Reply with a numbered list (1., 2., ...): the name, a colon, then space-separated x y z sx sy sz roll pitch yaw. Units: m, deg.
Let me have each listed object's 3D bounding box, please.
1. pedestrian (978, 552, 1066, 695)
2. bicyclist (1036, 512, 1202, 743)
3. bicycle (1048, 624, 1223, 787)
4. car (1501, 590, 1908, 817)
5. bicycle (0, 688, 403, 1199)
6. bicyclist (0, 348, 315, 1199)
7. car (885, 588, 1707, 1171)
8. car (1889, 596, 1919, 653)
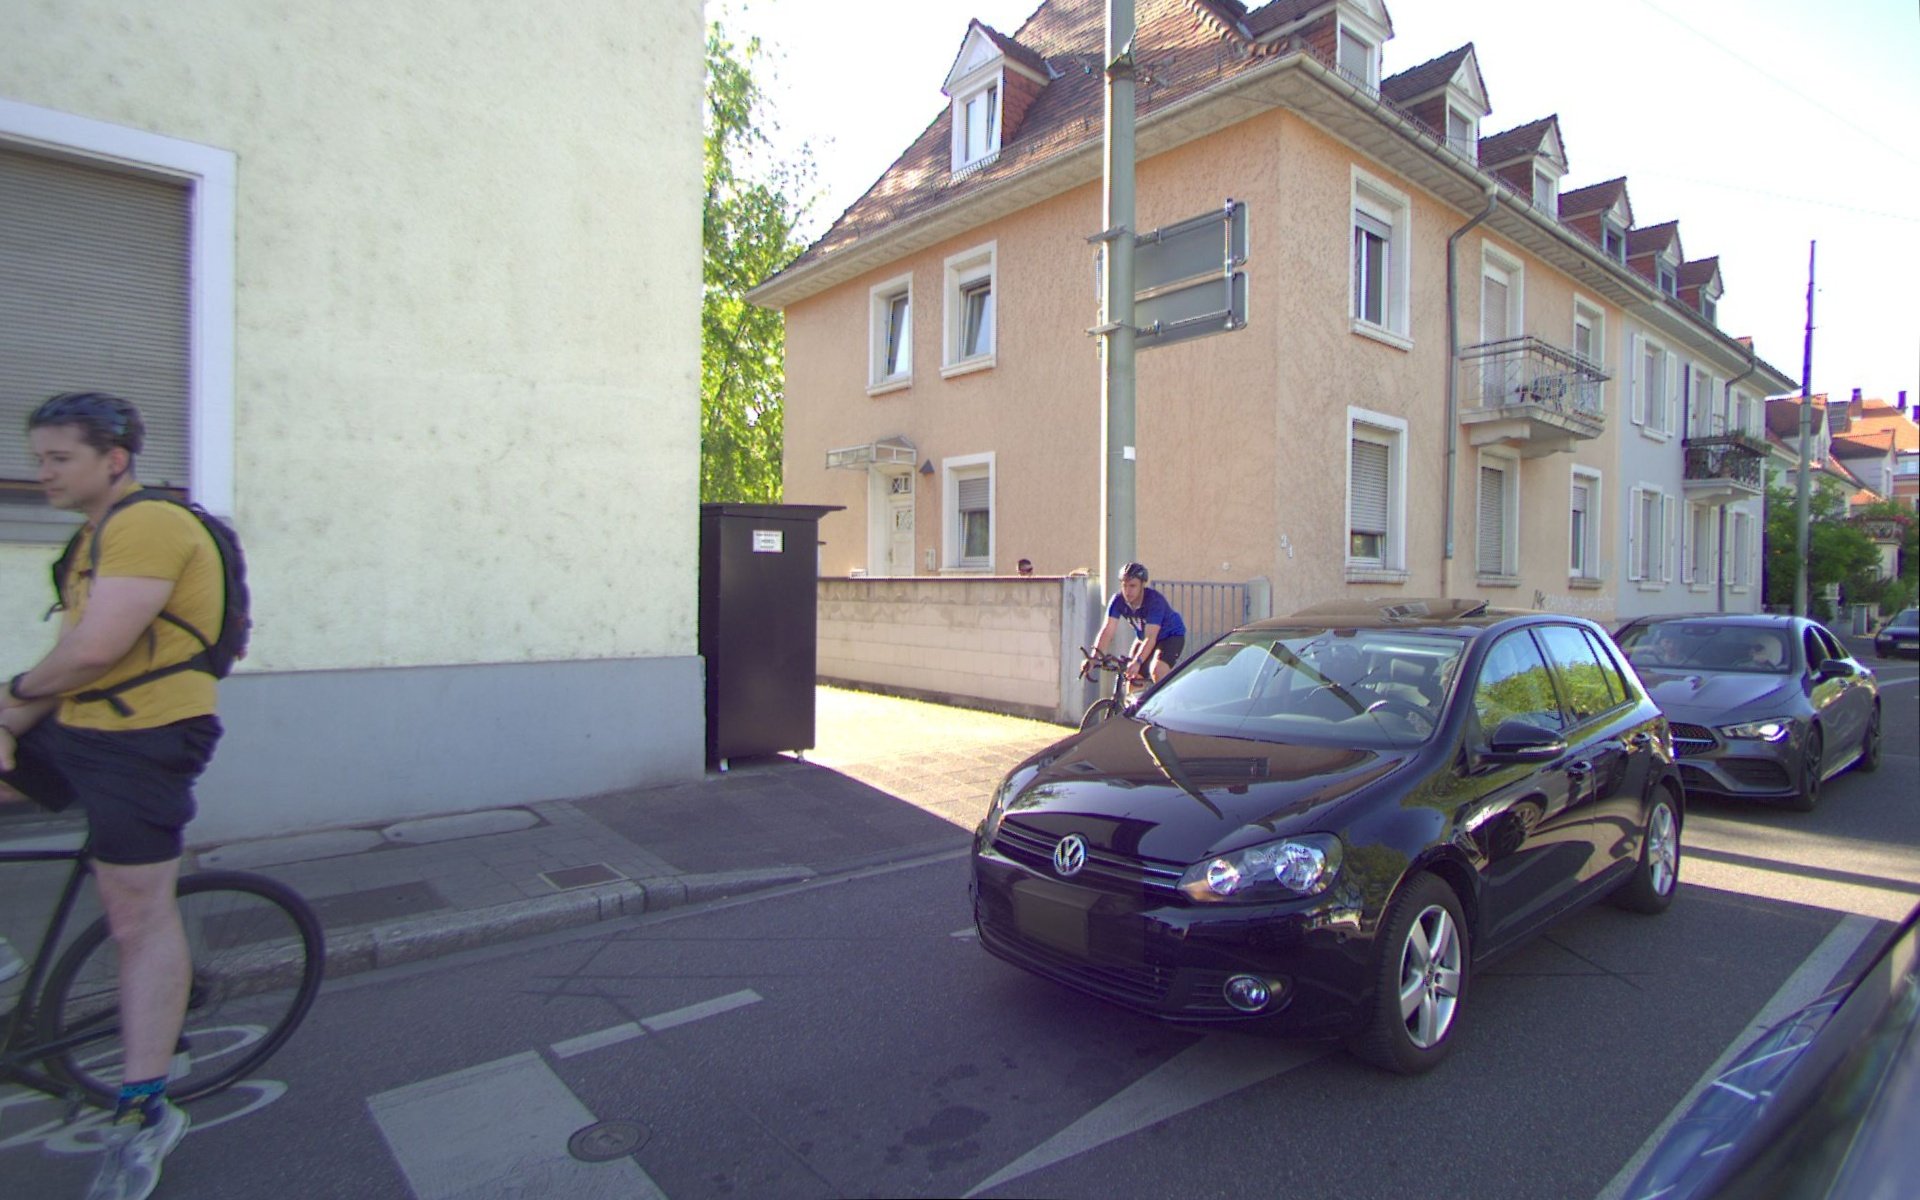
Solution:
1. pedestrian: 0.742 0.261 12.293 0.600 1.624 0.760 0 6 -43
2. bicyclist: 1.285 0.178 8.234 1.018 1.714 0.718 6 4 42
3. bicycle: 1.436 0.783 8.098 0.554 1.088 1.601 6 4 42
4. car: 6.484 0.685 8.613 4.410 1.449 1.824 1 0 -40
5. bicycle: -2.452 0.863 2.506 0.777 1.120 1.720 0 0 36
6. bicyclist: -2.314 0.429 2.697 0.777 1.991 0.768 0 0 36
7. car: 1.749 0.684 4.492 3.921 1.456 1.716 -1 0 -41
8. car: 26.760 0.623 27.435 4.258 1.448 1.824 -1 0 -40
